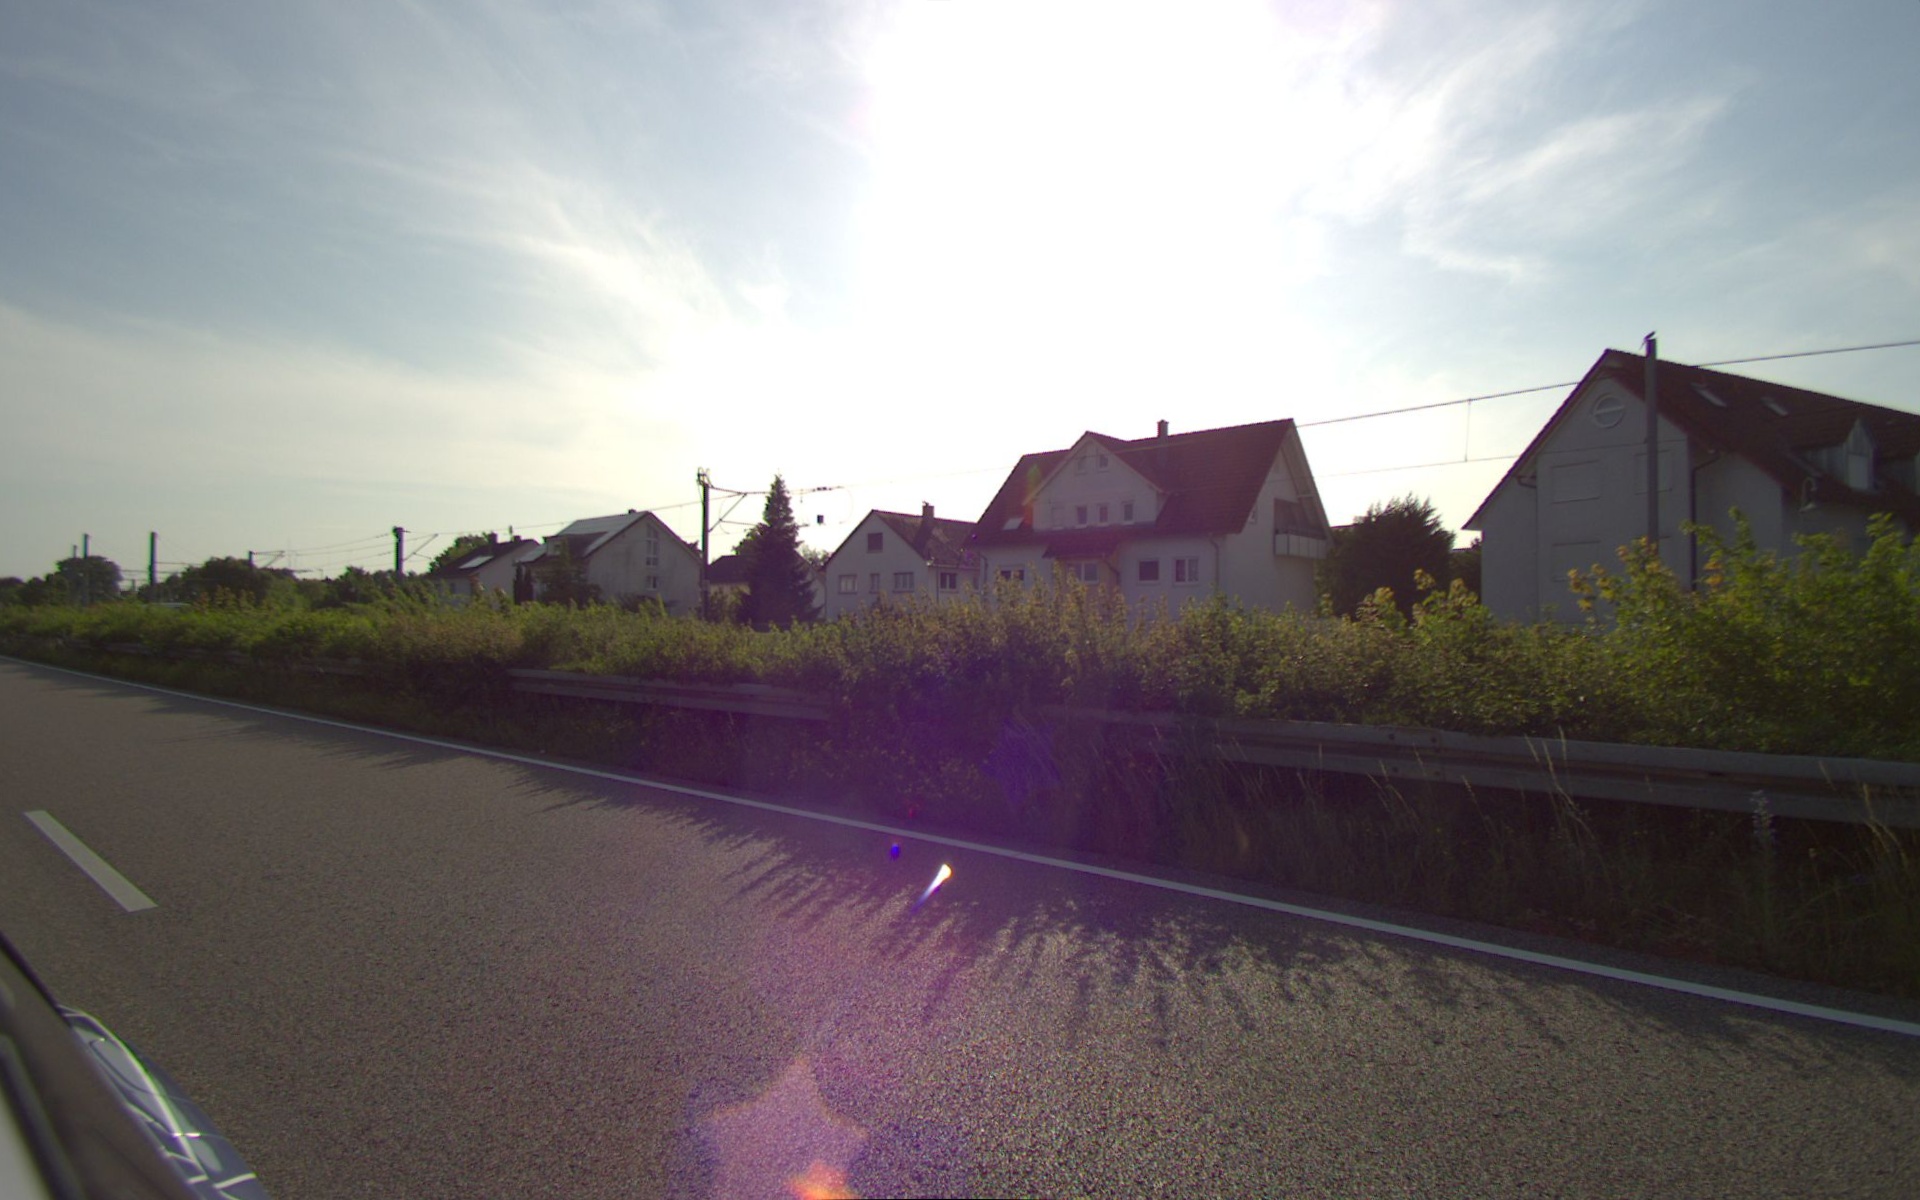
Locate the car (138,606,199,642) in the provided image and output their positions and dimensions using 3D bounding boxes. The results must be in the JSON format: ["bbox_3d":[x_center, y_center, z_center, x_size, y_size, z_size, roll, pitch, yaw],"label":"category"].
[{"bbox_3d":[-47.198,1.402,60.291,4.869,2.029,1.973,-1,0,41],"label":"car"}]
